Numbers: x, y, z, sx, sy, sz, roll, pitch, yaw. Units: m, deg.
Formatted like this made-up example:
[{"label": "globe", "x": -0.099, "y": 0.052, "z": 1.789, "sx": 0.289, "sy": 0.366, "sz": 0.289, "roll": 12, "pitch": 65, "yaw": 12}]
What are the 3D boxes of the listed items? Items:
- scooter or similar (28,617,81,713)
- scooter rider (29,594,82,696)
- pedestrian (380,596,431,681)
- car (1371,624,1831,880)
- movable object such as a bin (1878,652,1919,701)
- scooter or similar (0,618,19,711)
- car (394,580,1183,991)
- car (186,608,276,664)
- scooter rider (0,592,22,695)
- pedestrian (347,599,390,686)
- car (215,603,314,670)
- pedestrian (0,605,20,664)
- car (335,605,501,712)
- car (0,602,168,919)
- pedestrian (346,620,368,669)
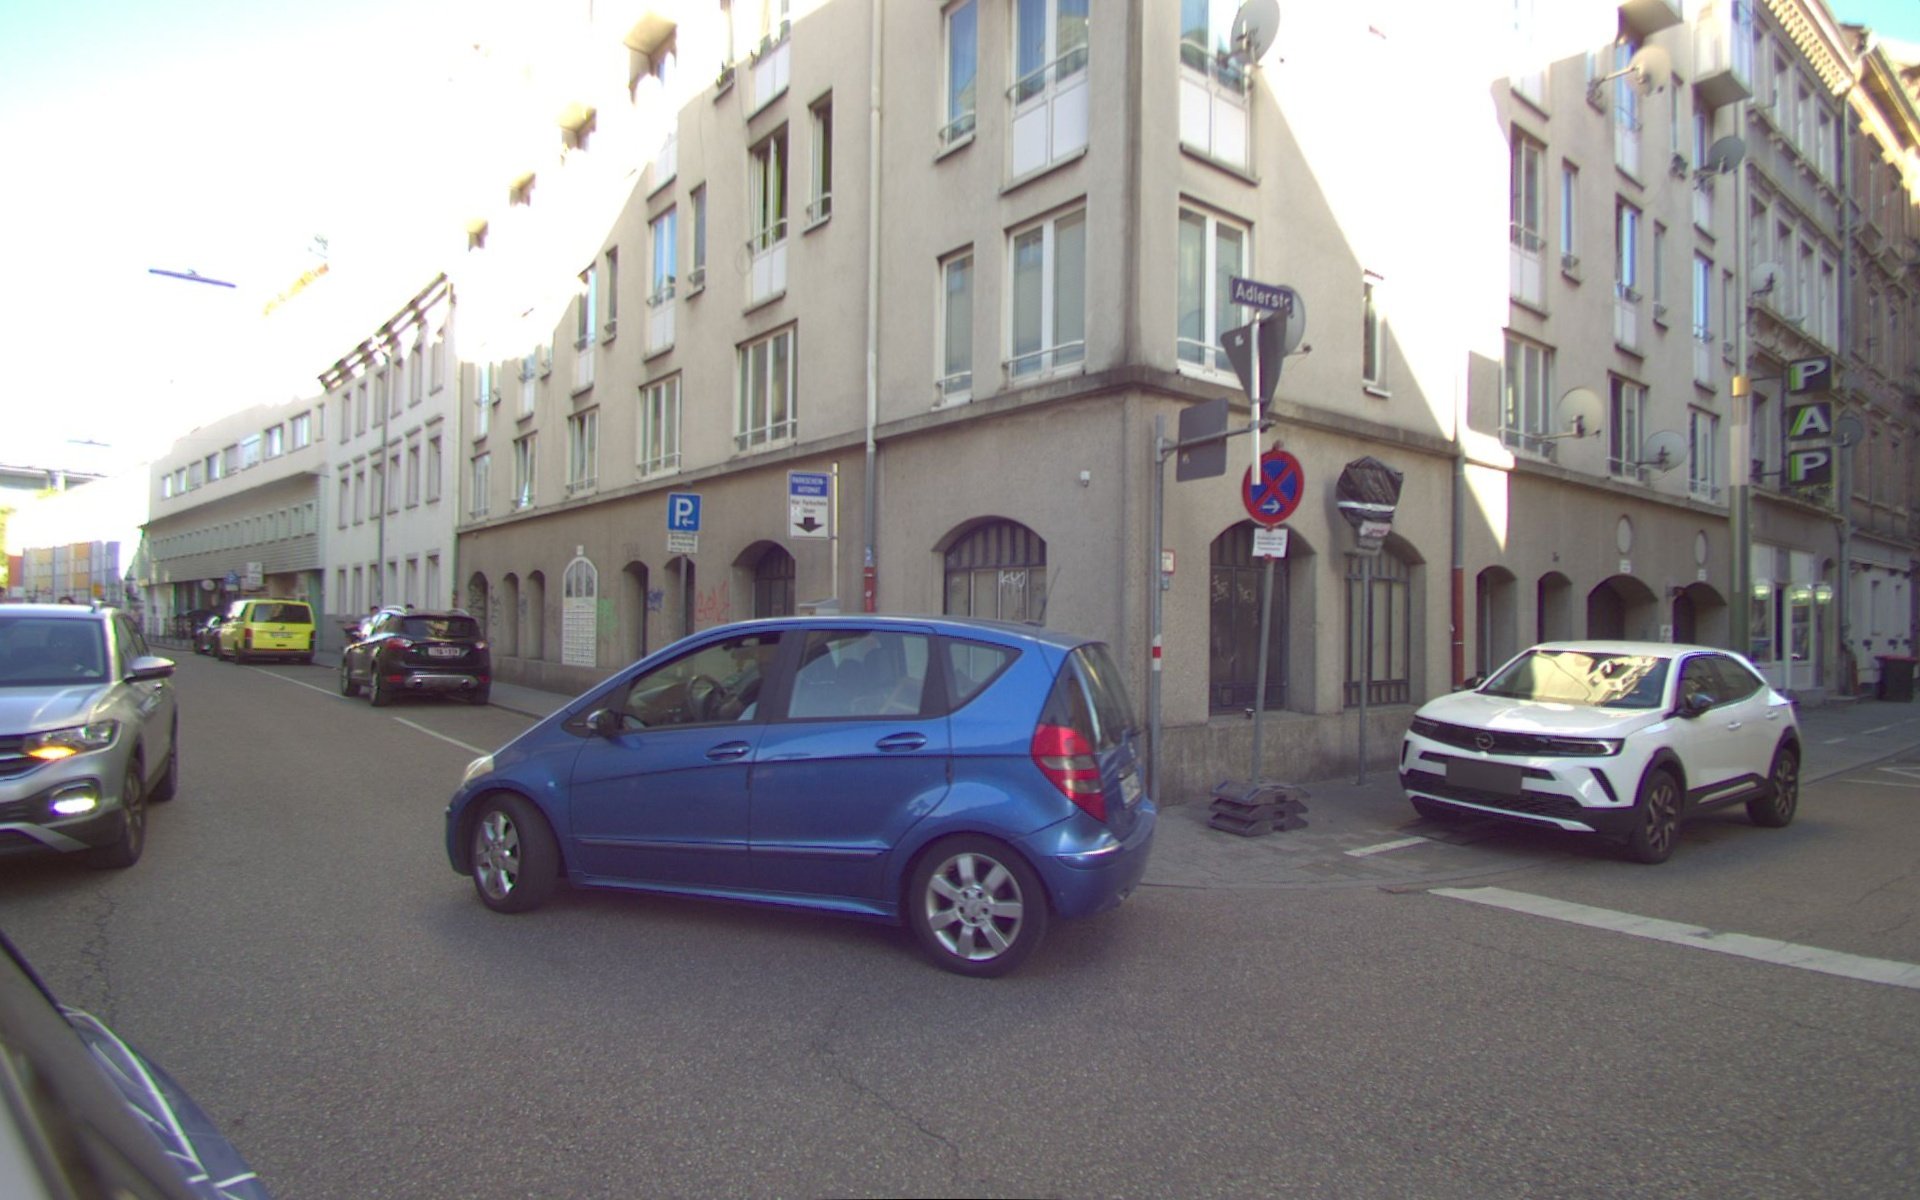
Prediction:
[{"label": "scooter or similar", "x": -13.965, "y": 0.966, "z": 15.635, "sx": 0.542, "sy": 1.407, "sz": 1.558, "roll": 2, "pitch": -2, "yaw": -41}, {"label": "scooter rider", "x": -14.011, "y": 0.680, "z": 15.695, "sx": 0.583, "sy": 1.519, "sz": 0.601, "roll": -1, "pitch": 0, "yaw": -41}, {"label": "pedestrian", "x": -13.600, "y": 0.941, "z": 24.827, "sx": 0.923, "sy": 2.029, "sz": 0.700, "roll": 2, "pitch": -2, "yaw": -42}, {"label": "car", "x": 5.345, "y": 1.042, "z": 8.301, "sx": 3.902, "sy": 1.605, "sz": 1.748, "roll": 2, "pitch": -1, "yaw": -34}, {"label": "movable object such as a bin", "x": 21.791, "y": 1.763, "z": 23.346, "sx": 0.743, "sy": 1.056, "sz": 0.838, "roll": -1, "pitch": 0, "yaw": -42}, {"label": "scooter or similar", "x": -15.145, "y": 0.986, "z": 15.835, "sx": 0.516, "sy": 1.407, "sz": 1.558, "roll": 2, "pitch": -2, "yaw": -41}, {"label": "car", "x": -0.805, "y": 0.797, "z": 5.461, "sx": 3.775, "sy": 1.605, "sz": 1.846, "roll": -1, "pitch": -3, "yaw": 18}, {"label": "car", "x": -25.235, "y": 1.229, "z": 34.985, "sx": 1.861, "sy": 1.781, "sz": 4.003, "roll": 5, "pitch": -4, "yaw": -44}, {"label": "scooter rider", "x": -15.349, "y": 0.686, "z": 16.061, "sx": 0.638, "sy": 1.605, "sz": 0.601, "roll": -1, "pitch": 0, "yaw": -41}, {"label": "pedestrian", "x": -14.048, "y": 1.002, "z": 24.045, "sx": 0.705, "sy": 2.029, "sz": 0.700, "roll": 2, "pitch": -2, "yaw": -42}, {"label": "car", "x": -21.017, "y": 1.035, "z": 30.526, "sx": 1.861, "sy": 1.888, "sz": 4.003, "roll": 0, "pitch": -1, "yaw": -44}, {"label": "pedestrian", "x": -33.055, "y": 1.193, "z": 35.019, "sx": 0.705, "sy": 2.029, "sz": 0.700, "roll": 2, "pitch": -2, "yaw": -42}, {"label": "car", "x": -9.955, "y": 1.024, "z": 18.441, "sx": 1.859, "sy": 1.717, "sz": 4.007, "roll": 4, "pitch": -4, "yaw": -39}, {"label": "car", "x": -6.222, "y": 0.810, "z": 6.385, "sx": 1.735, "sy": 1.558, "sz": 4.009, "roll": 1, "pitch": -1, "yaw": -36}, {"label": "pedestrian", "x": -18.252, "y": 1.329, "z": 30.628, "sx": 0.547, "sy": 1.459, "sz": 0.584, "roll": 2, "pitch": -2, "yaw": -31}]
